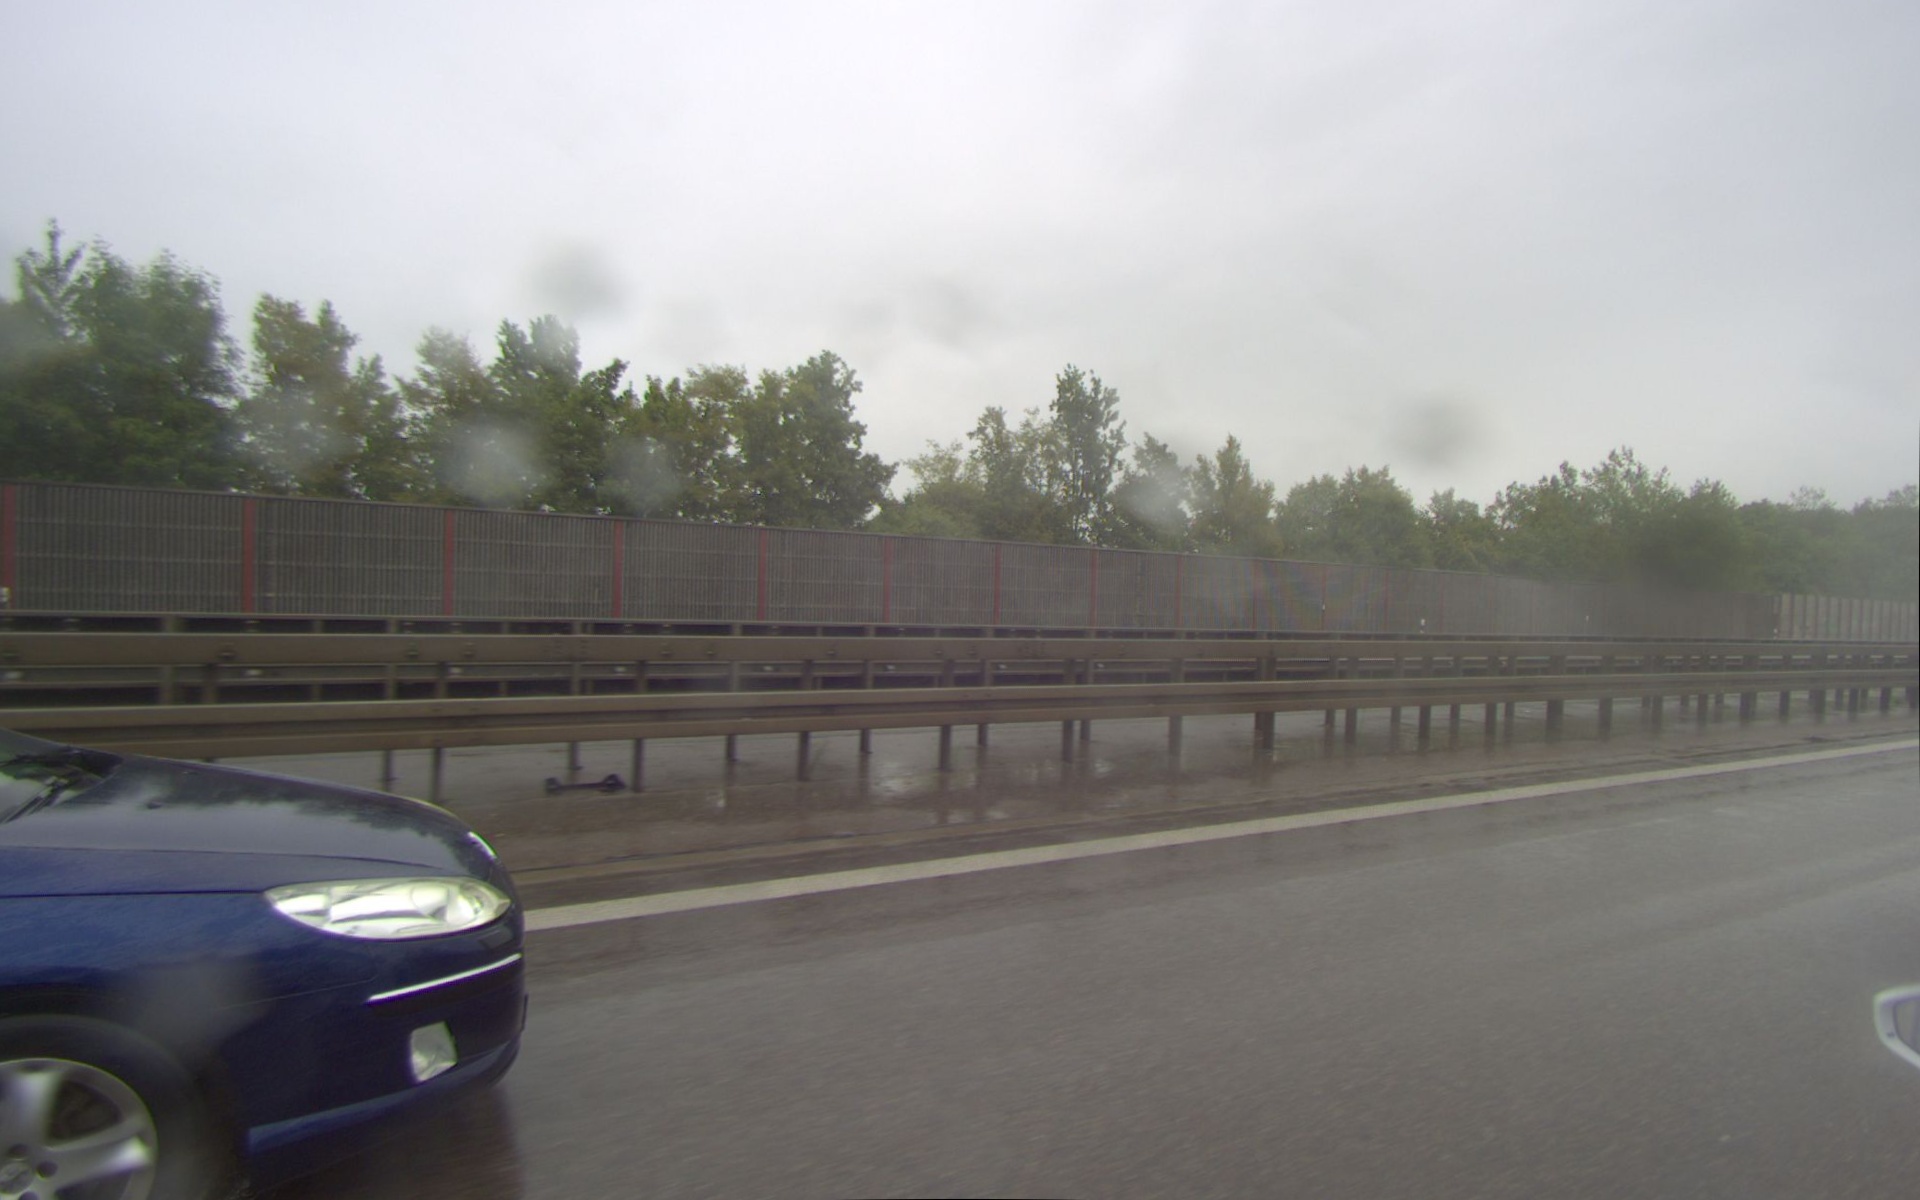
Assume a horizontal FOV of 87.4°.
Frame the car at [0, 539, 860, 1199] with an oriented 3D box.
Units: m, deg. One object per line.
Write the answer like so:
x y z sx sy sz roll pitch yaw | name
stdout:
-2.975 0.617 2.280 5.098 1.505 2.044 1 0 -31 | car
